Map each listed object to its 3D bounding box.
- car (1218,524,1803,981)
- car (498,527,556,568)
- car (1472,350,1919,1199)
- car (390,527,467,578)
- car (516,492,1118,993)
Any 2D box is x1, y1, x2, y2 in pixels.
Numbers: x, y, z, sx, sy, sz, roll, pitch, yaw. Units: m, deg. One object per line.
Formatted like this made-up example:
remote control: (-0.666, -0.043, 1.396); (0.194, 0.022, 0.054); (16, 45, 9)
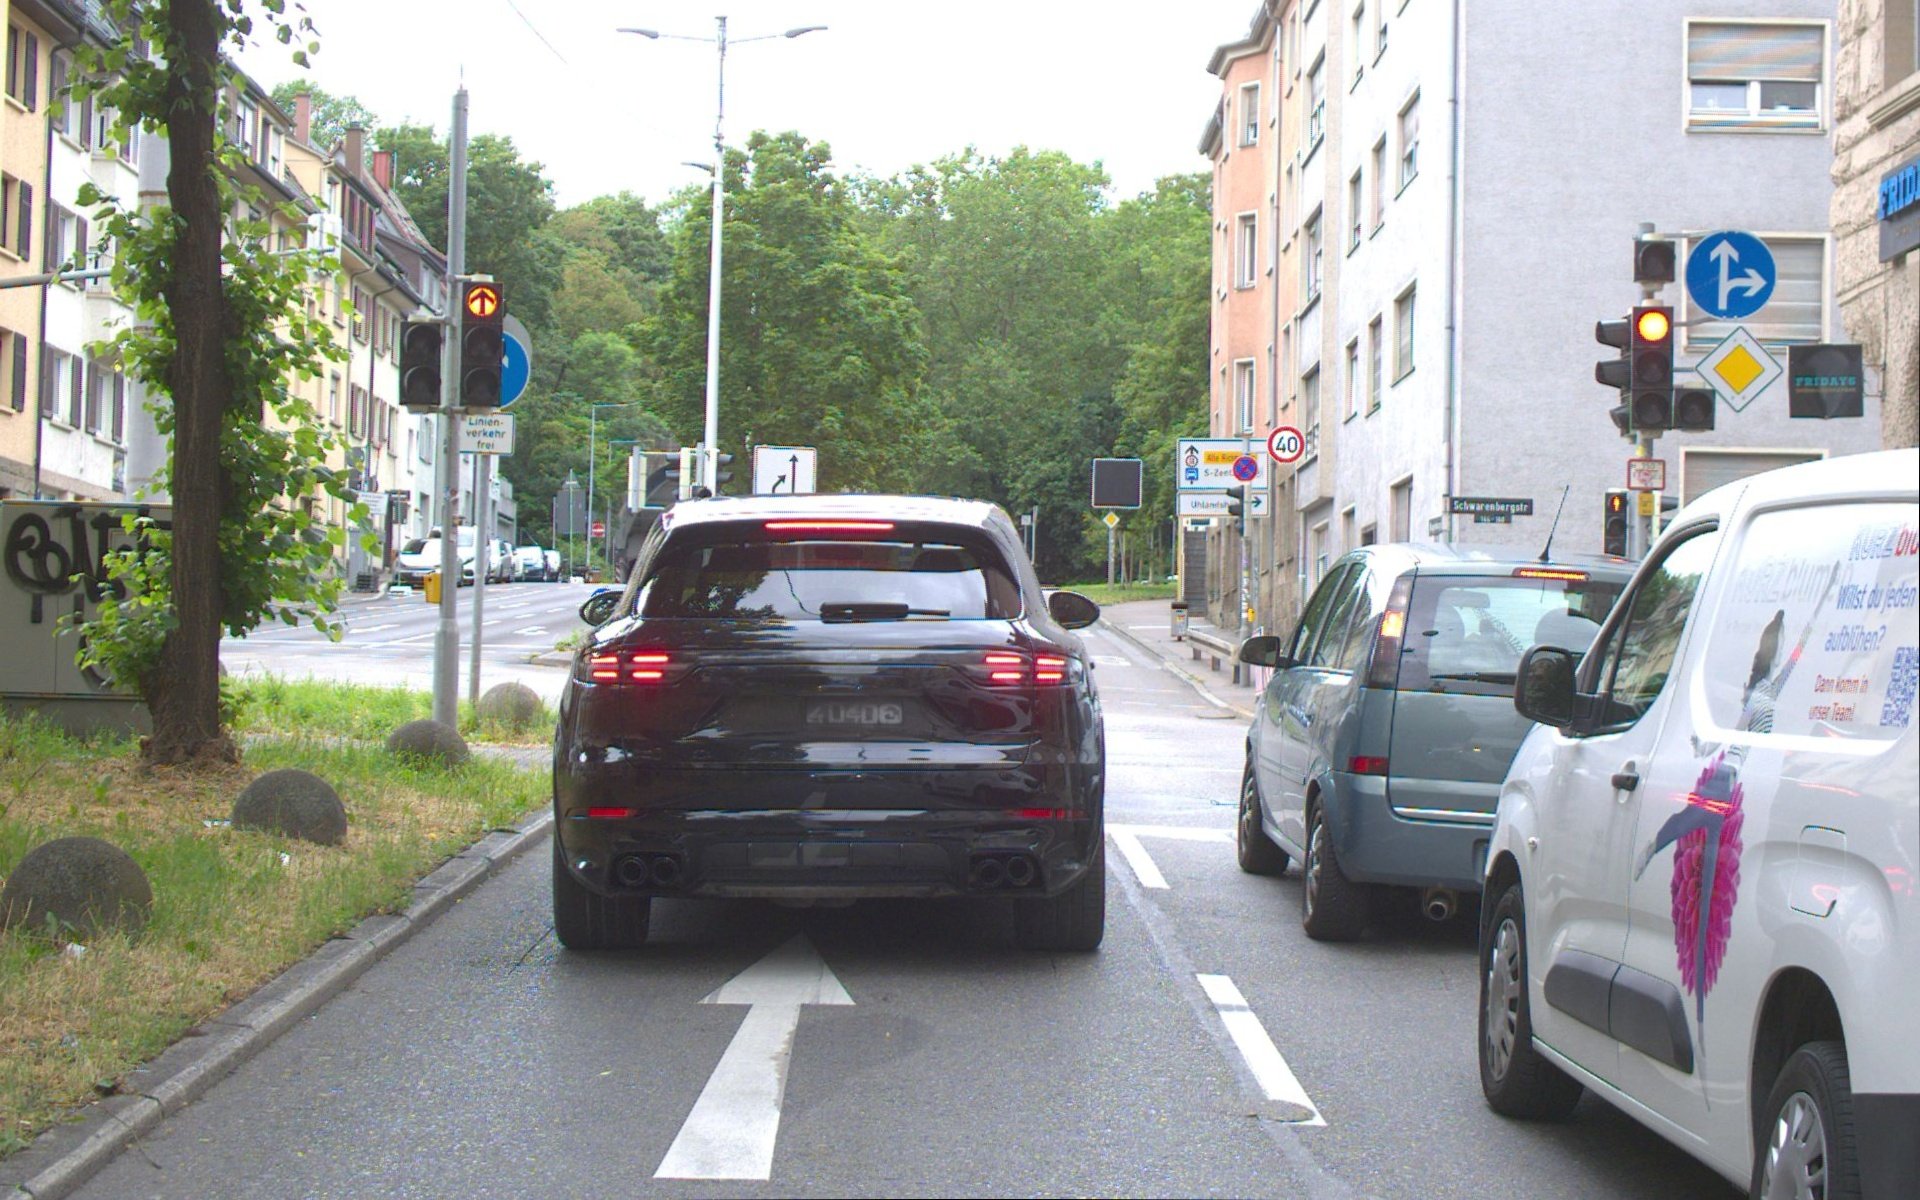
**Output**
car: (2.185, 0.534, 14.612); (1.752, 1.588, 3.631); (4, 1, -1)
car: (-16.558, -2.030, 131.588); (1.794, 1.505, 4.000); (2, 1, -1)
car: (2.370, 0.567, 8.016); (1.850, 1.819, 5.020); (3, 0, 4)
car: (-16.243, -1.471, 105.184); (1.794, 1.505, 4.000); (2, 1, -1)
car: (-0.456, 0.423, 13.472); (1.994, 1.647, 4.000); (1, 1, 1)
